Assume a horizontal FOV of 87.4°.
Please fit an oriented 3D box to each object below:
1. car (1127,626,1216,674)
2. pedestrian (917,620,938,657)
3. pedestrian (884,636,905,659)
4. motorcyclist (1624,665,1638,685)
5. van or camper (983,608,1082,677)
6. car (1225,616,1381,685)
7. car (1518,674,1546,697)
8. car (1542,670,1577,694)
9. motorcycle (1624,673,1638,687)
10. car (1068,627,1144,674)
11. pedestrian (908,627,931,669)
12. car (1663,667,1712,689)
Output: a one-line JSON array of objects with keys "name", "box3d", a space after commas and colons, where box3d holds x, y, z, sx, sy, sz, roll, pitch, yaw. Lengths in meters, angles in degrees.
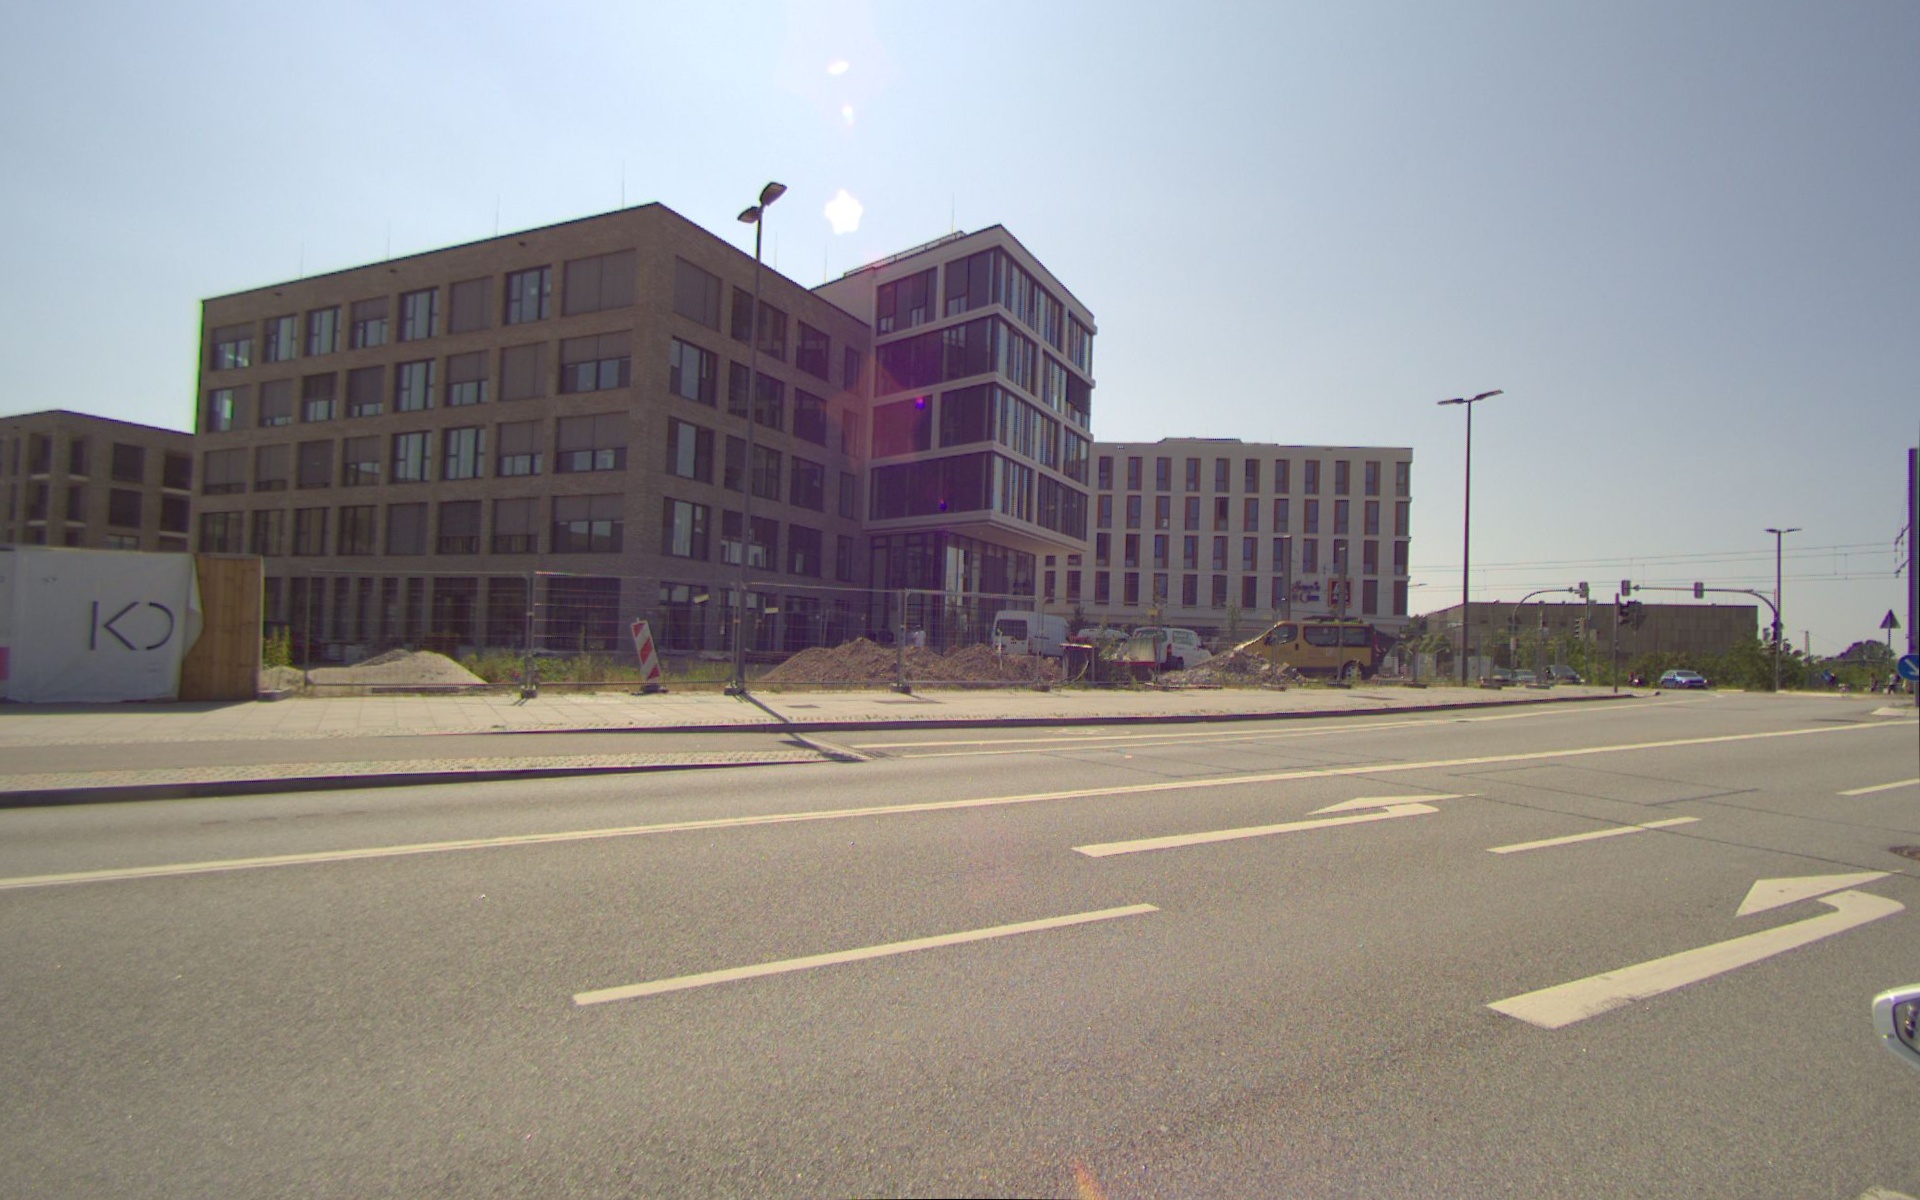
[{"name": "car", "box3d": [8.810, 2.041, 41.644, 1.841, 1.797, 4.638, 2, -1, 36]}, {"name": "pedestrian", "box3d": [-1.555, 1.843, 48.298, 0.734, 1.741, 0.699, 2, 0, 16]}, {"name": "pedestrian", "box3d": [-3.071, 2.199, 46.895, 0.734, 1.041, 0.699, 2, 0, 16]}, {"name": "motorcyclist", "box3d": [52.766, 5.923, 78.972, 0.739, 1.514, 0.677, 2, 0, 23]}, {"name": "van or camper", "box3d": [3.298, 1.854, 44.587, 2.273, 2.771, 4.976, 2, -1, 32]}, {"name": "car", "box3d": [11.244, 1.623, 33.247, 4.533, 1.988, 1.991, 2, 0, 9]}, {"name": "car", "box3d": [45.946, 6.846, 80.703, 1.541, 1.608, 3.478, 2, -1, 23]}, {"name": "car", "box3d": [43.264, 5.888, 72.556, 1.646, 1.496, 3.406, 0, -2, 22]}, {"name": "motorcycle", "box3d": [52.690, 6.271, 78.891, 0.511, 0.967, 1.934, 2, -1, 23]}, {"name": "car", "box3d": [6.312, 2.136, 43.141, 1.759, 1.881, 3.842, 2, -1, 32]}, {"name": "pedestrian", "box3d": [-1.739, 2.060, 43.478, 0.734, 1.741, 0.699, 2, 0, 16]}, {"name": "car", "box3d": [51.429, 5.472, 71.081, 1.787, 1.348, 4.001, 2, -2, 21]}]
